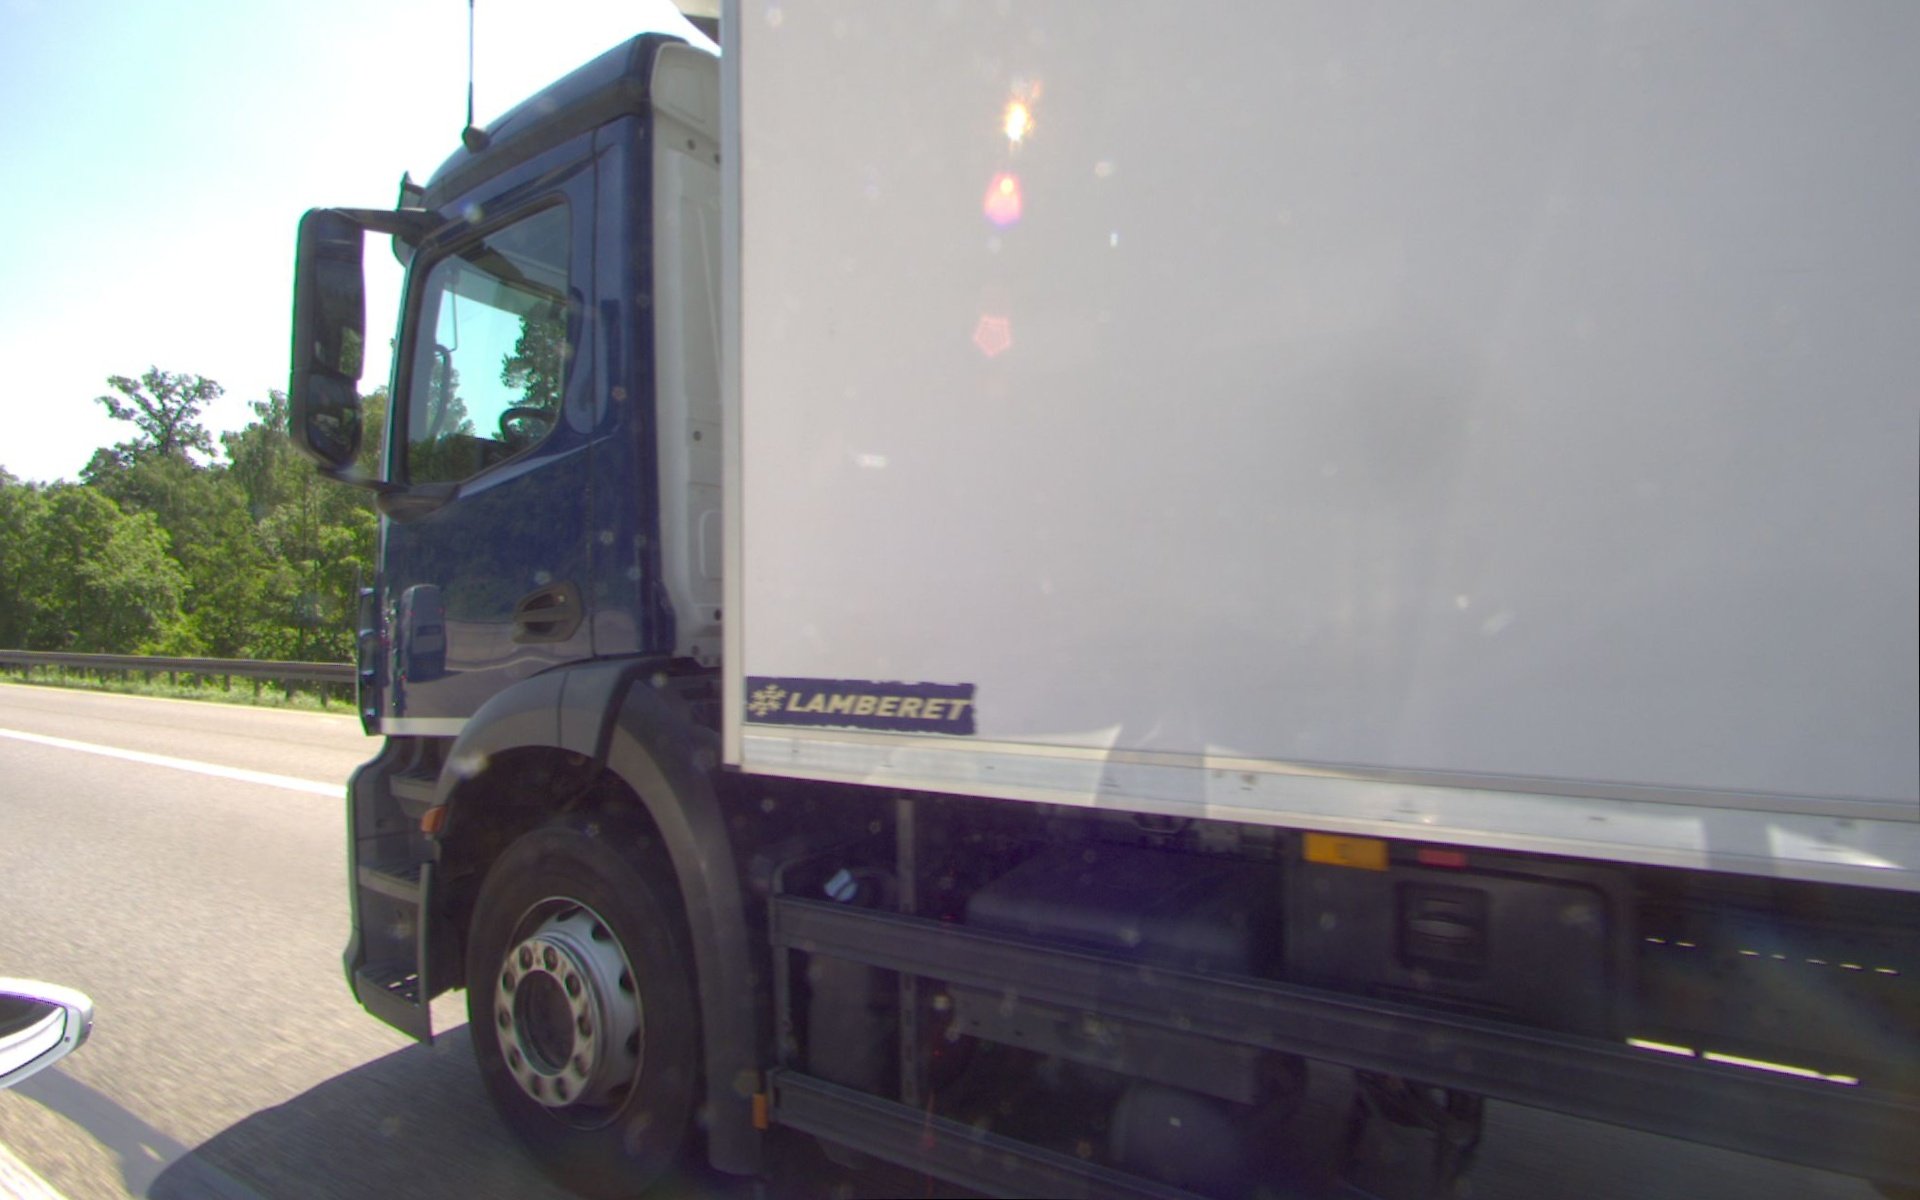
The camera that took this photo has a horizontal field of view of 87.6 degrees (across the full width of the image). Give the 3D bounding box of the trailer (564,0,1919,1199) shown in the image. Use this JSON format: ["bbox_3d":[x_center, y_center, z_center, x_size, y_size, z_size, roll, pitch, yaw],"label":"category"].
[{"bbox_3d":[3.153,-0.024,1.075,7.768,2.936,2.552,0,-1,32],"label":"trailer"}]

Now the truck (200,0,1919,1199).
[{"bbox_3d":[-0.042,0.032,3.148,4.047,2.979,2.550,-1,-1,33],"label":"truck"}]
